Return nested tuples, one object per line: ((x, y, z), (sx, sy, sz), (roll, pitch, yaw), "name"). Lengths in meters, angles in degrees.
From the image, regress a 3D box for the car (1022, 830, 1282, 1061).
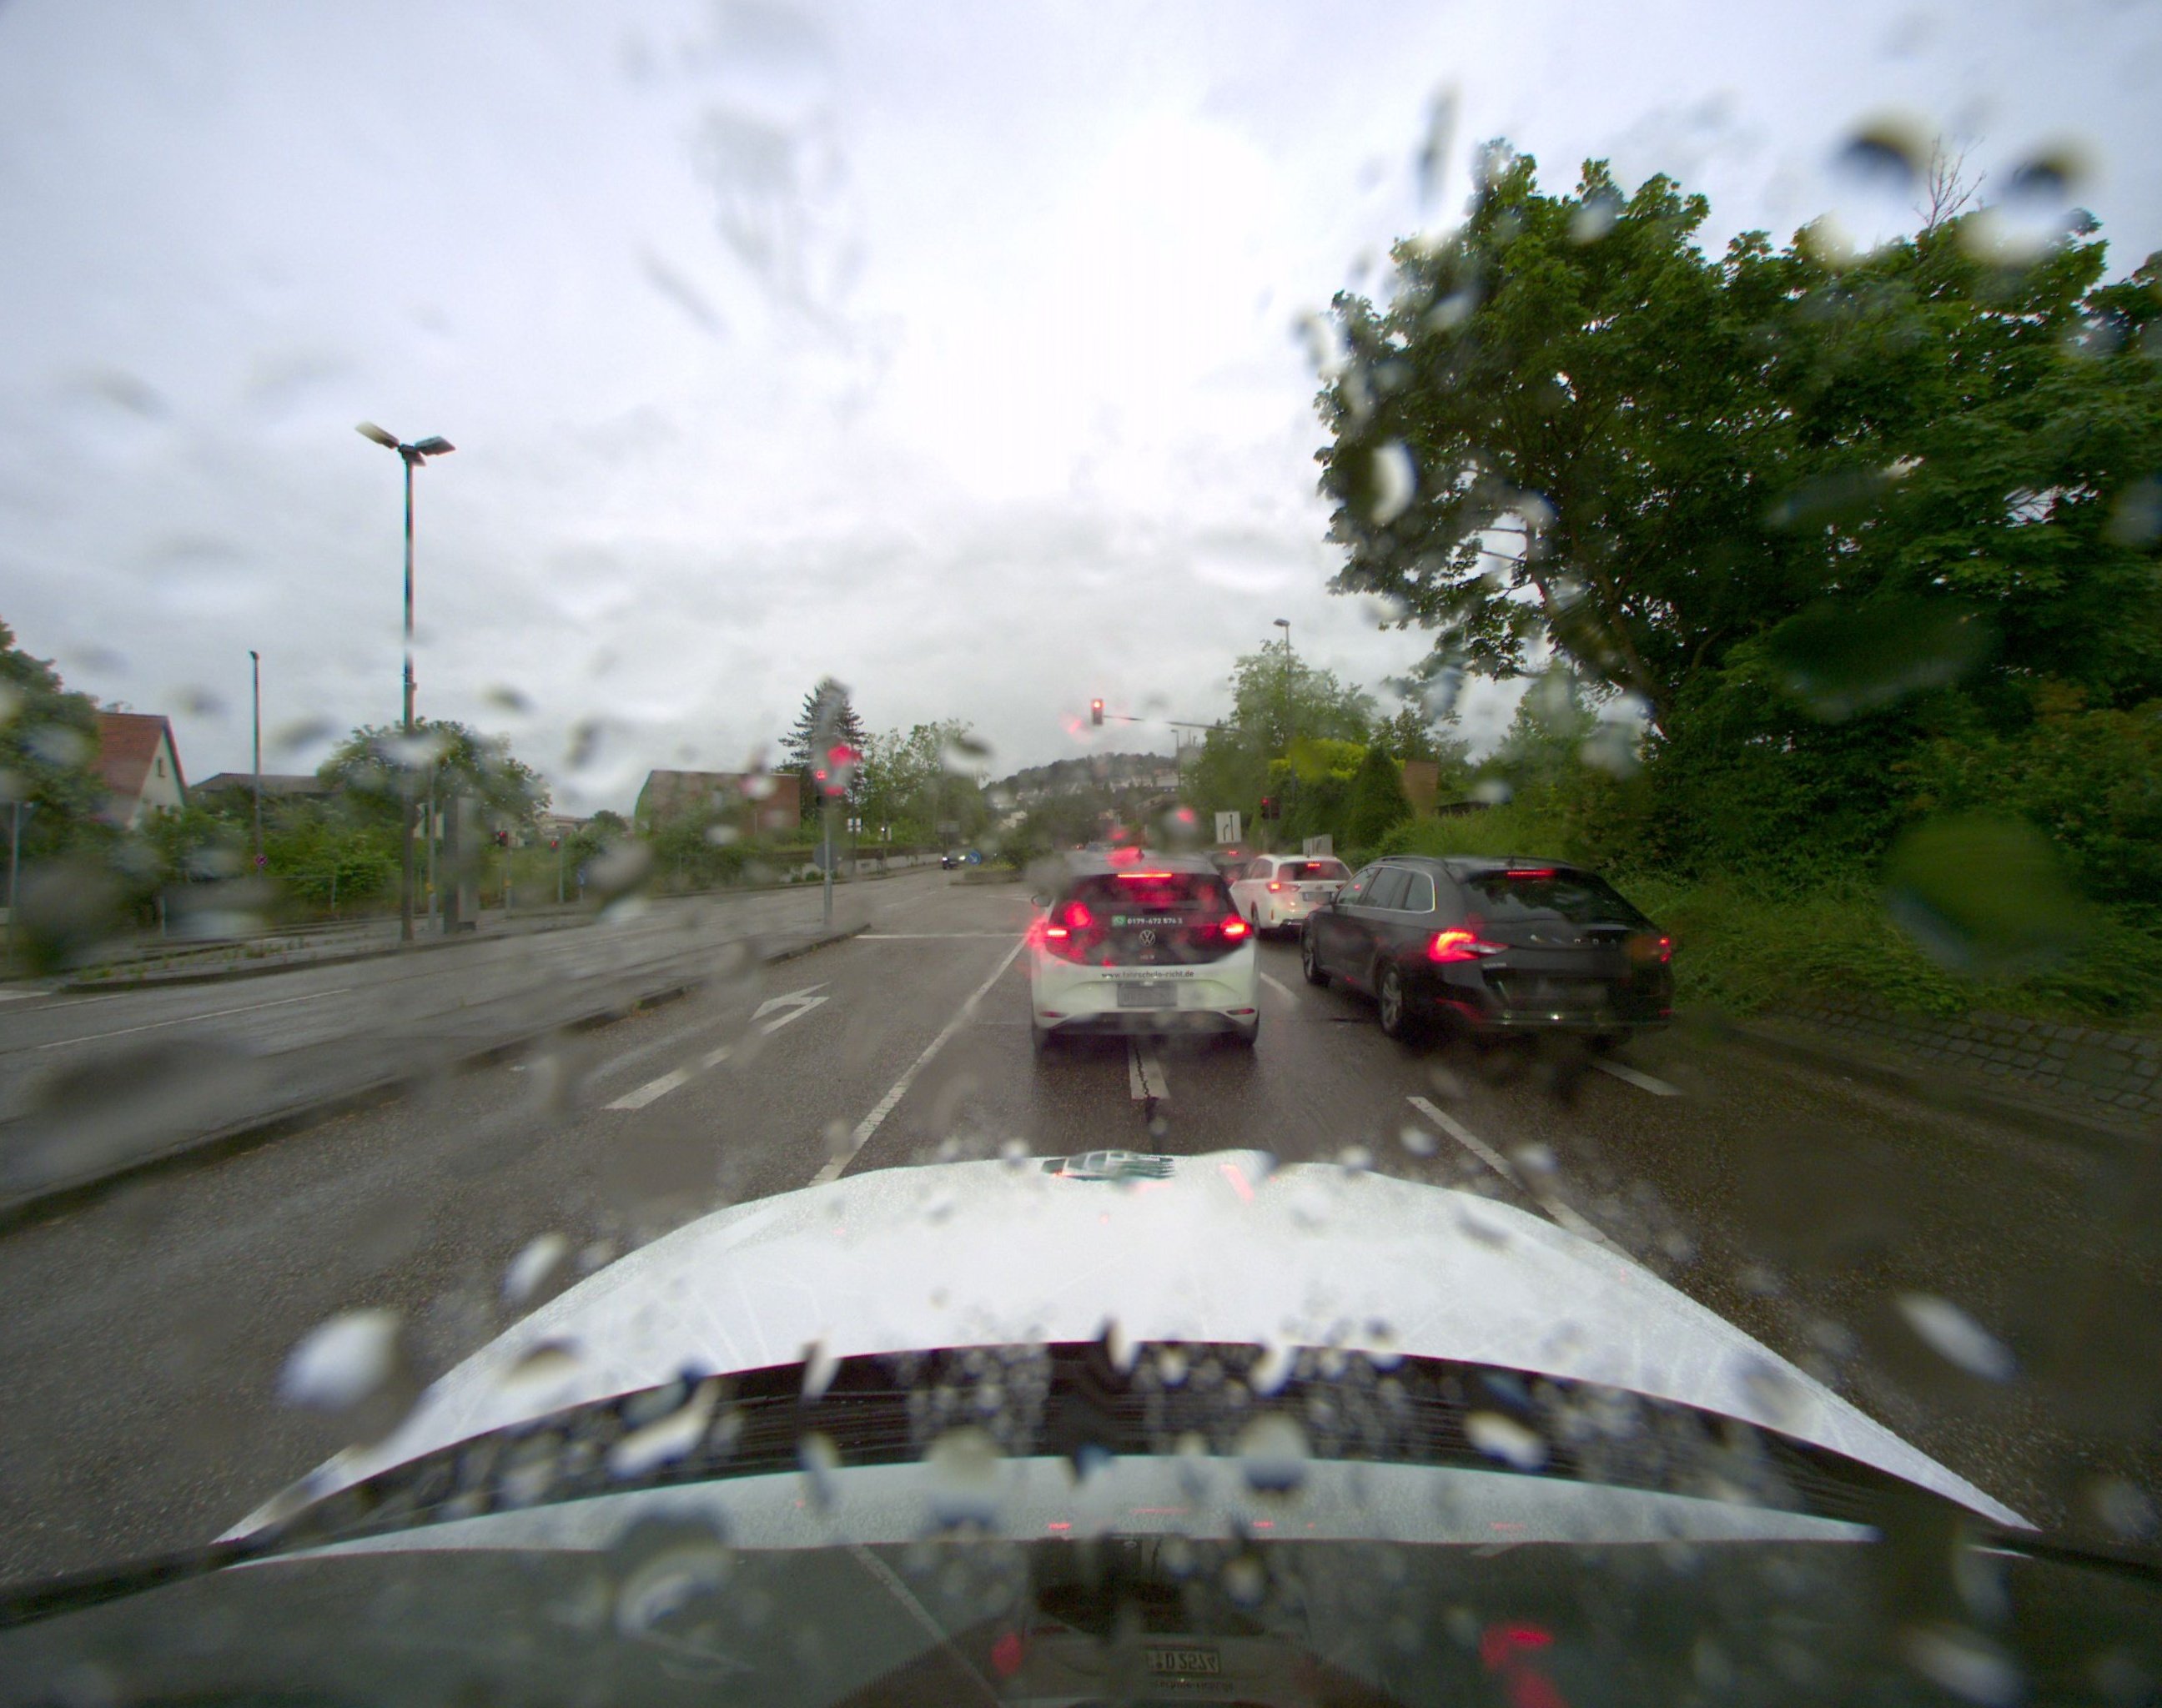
((0.550, 0.628, 8.046), (1.831, 1.629, 4.617), (0, 0, 1), "car")

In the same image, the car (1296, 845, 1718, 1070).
((3.354, 0.659, 7.509), (1.830, 1.466, 4.353), (0, 0, 3), "car")

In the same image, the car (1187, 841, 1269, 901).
((4.121, 0.459, 23.410), (1.769, 1.581, 4.002), (0, 0, 2), "car")

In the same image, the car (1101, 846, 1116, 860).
((3.027, -0.091, 90.697), (1.575, 1.467, 4.000), (-3, -1, 1), "car")

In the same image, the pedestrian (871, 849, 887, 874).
((-13.400, 0.483, 54.102), (0.757, 1.568, 0.825), (-4, 0, 1), "pedestrian")

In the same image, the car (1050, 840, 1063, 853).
((-4.265, -1.256, 140.704), (1.986, 2.014, 4.002), (-1, -1, 2), "car")

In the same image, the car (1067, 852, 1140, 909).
((0.605, 0.660, 22.220), (1.831, 1.400, 3.832), (0, 0, 1), "car")

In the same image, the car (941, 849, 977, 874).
((-9.452, 0.569, 63.508), (1.986, 1.804, 4.002), (-4, 0, 2), "car")

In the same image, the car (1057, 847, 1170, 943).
((0.569, 0.652, 15.303), (1.831, 1.555, 4.176), (0, 0, 1), "car")

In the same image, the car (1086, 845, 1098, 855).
((1.671, -0.654, 124.931), (1.755, 1.418, 3.748), (-3, 0, 0), "car")

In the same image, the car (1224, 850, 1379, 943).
((3.861, 0.670, 14.993), (1.831, 1.466, 4.118), (0, 0, 1), "car")
